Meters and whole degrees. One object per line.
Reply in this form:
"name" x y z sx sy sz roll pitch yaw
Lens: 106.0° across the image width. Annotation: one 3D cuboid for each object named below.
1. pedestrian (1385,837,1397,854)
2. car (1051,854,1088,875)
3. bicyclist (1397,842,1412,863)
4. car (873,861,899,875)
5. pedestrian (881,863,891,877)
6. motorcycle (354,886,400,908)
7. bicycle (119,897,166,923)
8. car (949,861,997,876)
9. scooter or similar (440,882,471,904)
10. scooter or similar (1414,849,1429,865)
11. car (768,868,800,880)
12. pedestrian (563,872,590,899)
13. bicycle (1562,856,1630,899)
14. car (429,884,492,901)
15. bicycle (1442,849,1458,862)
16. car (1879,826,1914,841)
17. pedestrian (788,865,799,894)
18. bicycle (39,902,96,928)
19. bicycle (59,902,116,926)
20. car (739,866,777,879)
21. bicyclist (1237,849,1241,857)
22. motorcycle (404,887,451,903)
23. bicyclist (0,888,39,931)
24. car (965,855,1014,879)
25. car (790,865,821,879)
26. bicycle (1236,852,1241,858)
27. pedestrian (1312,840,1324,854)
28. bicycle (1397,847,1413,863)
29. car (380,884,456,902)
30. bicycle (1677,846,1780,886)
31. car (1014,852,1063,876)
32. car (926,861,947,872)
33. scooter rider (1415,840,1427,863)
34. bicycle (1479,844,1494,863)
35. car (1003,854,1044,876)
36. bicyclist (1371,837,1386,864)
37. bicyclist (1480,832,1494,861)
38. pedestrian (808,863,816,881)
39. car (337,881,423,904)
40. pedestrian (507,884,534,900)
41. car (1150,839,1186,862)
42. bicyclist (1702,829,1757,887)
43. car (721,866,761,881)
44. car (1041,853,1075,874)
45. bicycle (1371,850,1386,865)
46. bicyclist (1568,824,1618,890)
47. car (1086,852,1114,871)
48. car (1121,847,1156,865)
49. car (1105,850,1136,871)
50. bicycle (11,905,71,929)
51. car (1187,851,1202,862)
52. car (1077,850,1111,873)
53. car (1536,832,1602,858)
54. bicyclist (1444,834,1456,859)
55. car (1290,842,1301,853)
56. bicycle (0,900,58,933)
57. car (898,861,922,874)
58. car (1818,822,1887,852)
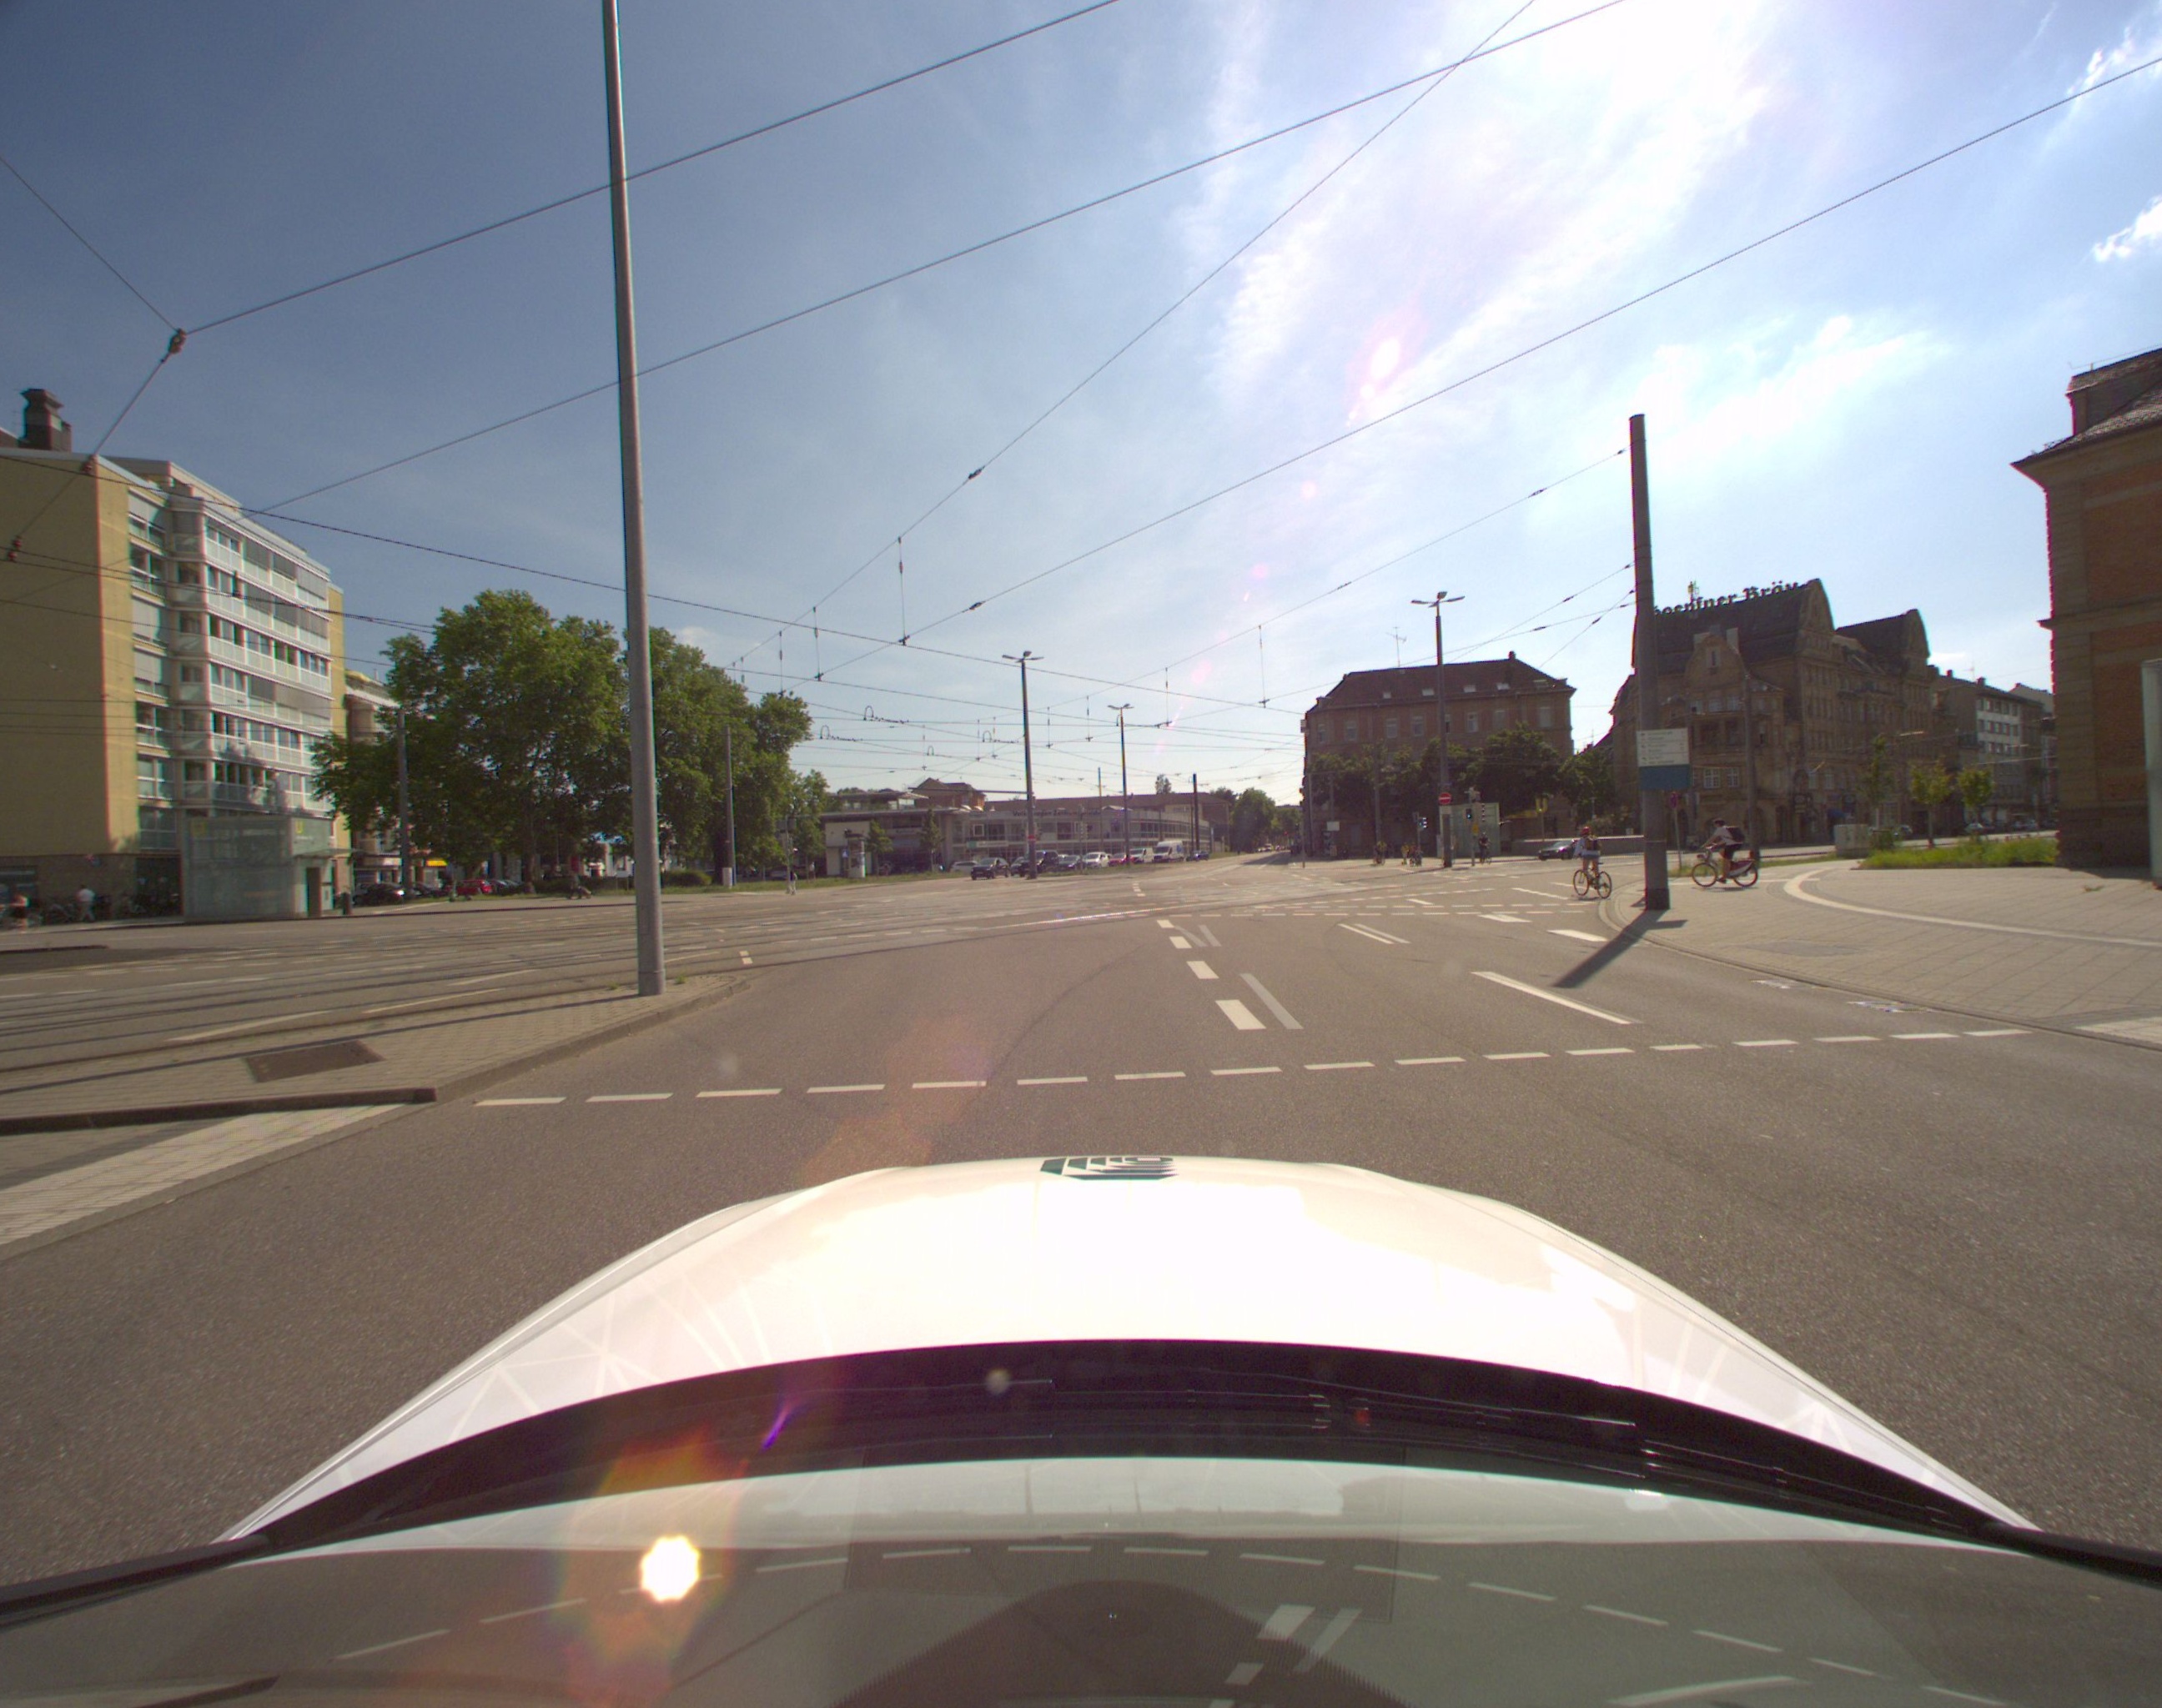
"pedestrian" 26.332 -0.741 69.137 0.617 1.433 0.704 1 -1 -37
"car" -0.917 0.831 65.521 1.880 1.588 4.016 -2 -1 15
"bicyclist" 22.228 -0.111 55.939 0.919 1.452 1.258 -1 0 20
"car" -22.672 1.579 94.743 1.988 1.486 3.998 -2 0 -1
"pedestrian" -21.181 1.739 88.482 0.951 1.580 0.533 0 -1 -3
"motorcycle" -37.139 2.284 42.981 2.020 1.062 0.642 -2 0 8
"bicycle" -47.649 2.814 41.369 0.540 1.186 1.880 -2 0 -14
"car" -10.863 1.452 81.863 4.552 1.436 1.450 -1 -1 14
"scooter or similar" -33.503 2.080 43.632 1.351 1.119 0.518 -2 0 10
"scooter or similar" 21.609 0.188 51.707 0.584 0.976 0.992 0 -1 0
"car" -34.653 2.326 95.167 1.984 1.244 4.006 0 -1 5
"pedestrian" -27.239 1.702 43.972 1.118 1.404 0.652 0 -1 -22
"bicycle" 13.554 0.588 21.499 0.710 1.015 2.025 -4 -1 9
"car" -51.717 3.178 67.939 3.731 1.340 1.734 0 -1 -17
"bicycle" 24.462 0.102 54.015 0.498 0.866 1.590 0 0 6
"car" 82.048 -2.104 81.886 3.622 1.345 1.622 -2 0 -31
"pedestrian" -16.143 1.443 45.742 0.456 1.605 0.396 1 -1 -36
"bicycle" -48.259 2.910 38.782 1.748 1.085 0.583 -3 3 -5
"bicycle" -48.128 2.907 39.448 1.751 1.043 0.582 -3 0 -11
"car" -41.556 2.379 104.797 3.976 1.508 1.999 -2 0 -2
"bicyclist" 31.925 -0.222 164.874 0.746 1.568 1.091 -1 -1 14
"motorcycle" -38.376 2.410 47.861 0.632 0.842 2.051 -2 0 34
"bicyclist" -40.412 2.111 30.955 0.728 1.572 0.613 -3 -1 1
"car" -6.501 0.941 58.354 1.876 1.588 4.229 -3 -1 18
"car" -32.299 2.100 95.567 1.984 1.684 4.006 0 -1 5
"bicycle" 31.918 0.180 164.829 0.746 1.194 2.850 -1 -1 14
"pedestrian" 24.720 -0.687 84.933 0.716 1.433 0.877 -2 0 -37
"bicycle" 22.224 0.084 55.897 0.919 1.069 2.855 -1 0 20
"car" -49.135 2.880 60.411 3.996 1.270 1.734 0 -1 -17
"bicycle" 17.103 0.308 21.567 0.719 1.015 1.999 1 -1 -35
"car" -3.043 0.683 58.970 1.945 1.587 4.738 -2 0 18
"car" -16.724 1.464 94.331 1.825 1.195 3.998 0 -1 -1
"scooter rider" 21.606 -0.158 51.726 0.585 1.397 0.406 0 -1 0
"bicycle" 23.614 -0.022 47.457 0.661 1.069 2.477 -1 0 23
"car" -4.541 0.882 64.974 1.879 1.588 4.018 -3 -2 18
"bicyclist" 20.562 -0.207 56.242 0.918 1.820 1.058 -1 -1 21
"bicyclist" 23.295 -0.427 46.708 0.661 1.624 0.787 -1 0 23
"pedestrian" -23.758 1.554 71.914 0.388 1.596 0.466 -1 -1 24
"car" -48.155 2.644 56.012 3.996 1.440 1.880 0 -1 -17
"pedestrian" -34.738 2.334 50.487 1.176 0.892 0.817 -2 0 -19
"car" 10.048 -0.320 93.987 2.188 2.575 5.909 -1 -1 26
"bicyclist" 17.138 0.114 21.526 0.719 1.488 0.940 1 -1 -35
"car" -41.344 2.342 99.154 3.976 1.552 1.999 -2 0 -2
"car" -2.000 0.859 72.491 1.638 1.739 4.219 -3 -2 17
"bicycle" 20.669 0.253 56.511 0.918 1.069 2.761 -1 -1 21
"bicyclist" 13.507 0.083 21.497 0.710 1.669 0.877 -4 -1 8
"car" 1.998 0.790 84.278 1.792 1.846 4.219 -3 -2 17
"car" 6.141 0.190 86.759 2.166 1.680 5.057 -3 0 23
"car" 3.888 0.689 79.716 1.879 1.917 4.219 -3 -2 17
"bicycle" -49.722 3.015 38.949 1.752 0.965 0.581 -3 0 -12
"car" 15.192 0.346 109.269 1.373 1.414 3.027 -1 -1 20
"car" 1.191 0.701 72.816 1.879 1.917 4.219 -3 -2 17
"car" 32.816 -0.608 54.753 4.000 1.584 1.628 -2 0 -20
"bicyclist" 24.461 -0.475 53.985 0.498 1.621 0.651 0 0 5
"car" 42.199 -1.327 160.097 2.093 2.014 4.016 -1 -1 15
"bicycle" -40.377 2.377 30.915 0.749 1.130 1.797 -2 0 1
"car" -19.898 1.605 94.716 1.988 1.486 3.998 0 -1 -1
"car" 37.875 -0.832 39.960 3.465 1.313 1.655 -2 0 -33
